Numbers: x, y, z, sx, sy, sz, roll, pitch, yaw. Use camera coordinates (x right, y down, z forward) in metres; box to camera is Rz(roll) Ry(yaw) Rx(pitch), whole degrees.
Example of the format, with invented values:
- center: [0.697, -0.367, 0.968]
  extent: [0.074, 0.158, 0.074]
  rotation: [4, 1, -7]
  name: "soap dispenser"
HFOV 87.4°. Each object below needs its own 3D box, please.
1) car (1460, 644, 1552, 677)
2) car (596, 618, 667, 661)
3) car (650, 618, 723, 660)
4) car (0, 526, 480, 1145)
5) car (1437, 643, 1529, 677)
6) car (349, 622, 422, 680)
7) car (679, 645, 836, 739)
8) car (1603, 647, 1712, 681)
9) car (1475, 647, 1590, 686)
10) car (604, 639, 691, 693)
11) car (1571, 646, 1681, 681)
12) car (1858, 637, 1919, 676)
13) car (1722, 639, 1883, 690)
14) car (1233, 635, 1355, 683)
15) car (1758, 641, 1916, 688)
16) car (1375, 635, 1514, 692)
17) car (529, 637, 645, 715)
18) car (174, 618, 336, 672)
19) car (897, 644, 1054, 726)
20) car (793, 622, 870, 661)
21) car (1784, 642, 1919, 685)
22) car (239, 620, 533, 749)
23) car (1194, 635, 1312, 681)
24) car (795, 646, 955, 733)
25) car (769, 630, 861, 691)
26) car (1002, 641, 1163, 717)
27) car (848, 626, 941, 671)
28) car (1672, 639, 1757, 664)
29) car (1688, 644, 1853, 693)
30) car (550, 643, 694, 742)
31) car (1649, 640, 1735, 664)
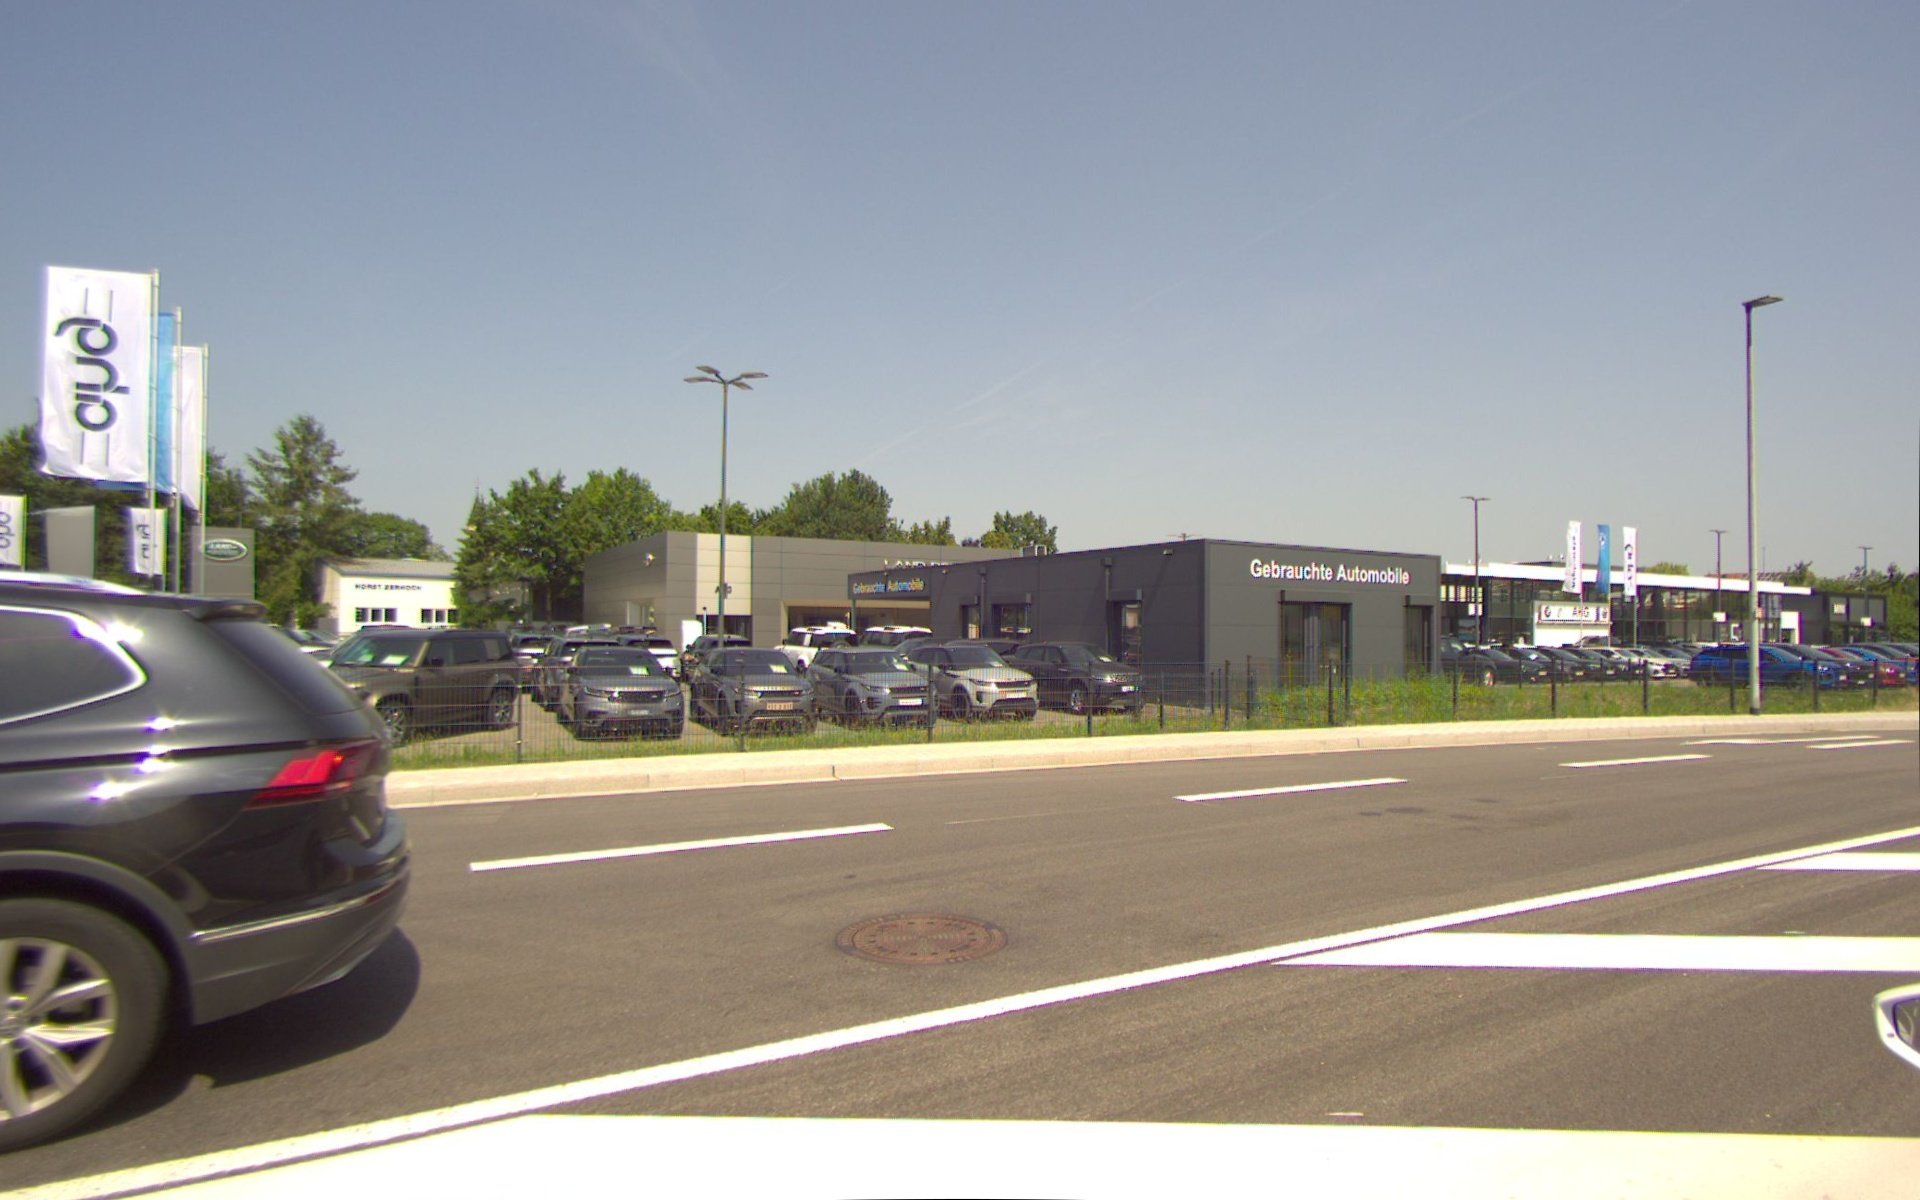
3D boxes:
- center: [29.222, 3.199, 53.866]
  extent: [1.795, 1.607, 3.967]
  rotation: [0, -2, -31]
  name: "car"
- center: [-12.004, 1.405, 36.601]
  extent: [1.667, 1.464, 3.665]
  rotation: [0, -1, -31]
  name: "car"
- center: [-10.020, 1.403, 36.643]
  extent: [1.667, 1.440, 3.665]
  rotation: [0, -1, -31]
  name: "car"
- center: [-3.903, 0.651, 3.118]
  extent: [4.239, 1.695, 1.869]
  rotation: [1, -2, -30]
  name: "car"
- center: [27.263, 3.104, 52.504]
  extent: [1.660, 1.615, 3.963]
  rotation: [0, -2, -34]
  name: "car"
- center: [-18.819, 1.593, 32.828]
  extent: [1.945, 1.757, 4.281]
  rotation: [0, -1, -31]
  name: "car"
- center: [-4.273, 1.800, 20.702]
  extent: [1.954, 1.653, 3.967]
  rotation: [0, -2, -31]
  name: "car"
- center: [33.941, 3.064, 48.979]
  extent: [1.795, 1.514, 3.967]
  rotation: [0, -2, -31]
  name: "car"
- center: [24.771, 2.845, 43.598]
  extent: [1.795, 1.500, 3.967]
  rotation: [0, -2, -31]
  name: "car"
- center: [-9.499, 1.934, 30.381]
  extent: [1.667, 1.464, 3.665]
  rotation: [0, -1, -31]
  name: "car"
- center: [31.360, 2.946, 47.412]
  extent: [1.795, 1.514, 3.967]
  rotation: [0, -2, -31]
  name: "car"
- center: [40.293, 2.337, 41.784]
  extent: [1.949, 1.554, 3.967]
  rotation: [0, -2, -31]
  name: "car"
- center: [29.625, 2.227, 35.433]
  extent: [1.795, 1.657, 3.967]
  rotation: [0, -2, -31]
  name: "car"
- center: [12.916, 2.266, 38.732]
  extent: [4.698, 1.761, 1.944]
  rotation: [2, -3, -32]
  name: "car"
- center: [31.797, 2.290, 36.537]
  extent: [1.795, 1.548, 3.967]
  rotation: [0, -2, -31]
  name: "car"
- center: [16.087, 2.082, 33.282]
  extent: [4.698, 1.761, 1.944]
  rotation: [2, -3, -32]
  name: "car"
- center: [-9.153, 1.766, 24.433]
  extent: [1.954, 1.686, 3.967]
  rotation: [0, -2, -31]
  name: "car"
- center: [-24.212, 1.516, 34.700]
  extent: [4.259, 1.757, 1.956]
  rotation: [0, -1, -25]
  name: "car"
- center: [0.265, 1.885, 23.412]
  extent: [1.944, 1.653, 3.970]
  rotation: [0, -2, -29]
  name: "car"
- center: [-5.105, 1.607, 39.571]
  extent: [1.667, 1.440, 3.665]
  rotation: [0, -1, -31]
  name: "car"
- center: [33.836, 2.348, 37.828]
  extent: [1.766, 1.464, 3.967]
  rotation: [0, -2, -31]
  name: "car"
- center: [-9.792, 1.344, 17.708]
  extent: [2.024, 1.890, 4.683]
  rotation: [2, -1, 7]
  name: "car"
- center: [11.815, 2.338, 40.466]
  extent: [4.698, 1.761, 1.944]
  rotation: [2, -3, -32]
  name: "car"
- center: [-1.963, 1.864, 22.069]
  extent: [1.954, 1.653, 3.967]
  rotation: [0, -2, -31]
  name: "car"
- center: [-4.836, 1.921, 33.143]
  extent: [1.667, 1.852, 3.817]
  rotation: [0, -1, -31]
  name: "car"
- center: [2.947, 1.882, 24.975]
  extent: [1.802, 1.653, 4.126]
  rotation: [0, -2, -32]
  name: "car"
- center: [-2.320, 1.628, 34.769]
  extent: [1.667, 1.440, 3.817]
  rotation: [0, -1, -31]
  name: "car"
- center: [49.732, 3.370, 66.278]
  extent: [1.793, 1.486, 4.146]
  rotation: [0, -2, -29]
  name: "car"
- center: [27.500, 2.291, 34.209]
  extent: [1.889, 1.500, 3.967]
  rotation: [0, -2, -31]
  name: "car"
- center: [-6.672, 1.693, 19.570]
  extent: [1.865, 1.653, 3.967]
  rotation: [0, -2, -31]
  name: "car"
- center: [47.409, 3.360, 65.155]
  extent: [1.793, 1.486, 4.146]
  rotation: [0, -2, -29]
  name: "car"
